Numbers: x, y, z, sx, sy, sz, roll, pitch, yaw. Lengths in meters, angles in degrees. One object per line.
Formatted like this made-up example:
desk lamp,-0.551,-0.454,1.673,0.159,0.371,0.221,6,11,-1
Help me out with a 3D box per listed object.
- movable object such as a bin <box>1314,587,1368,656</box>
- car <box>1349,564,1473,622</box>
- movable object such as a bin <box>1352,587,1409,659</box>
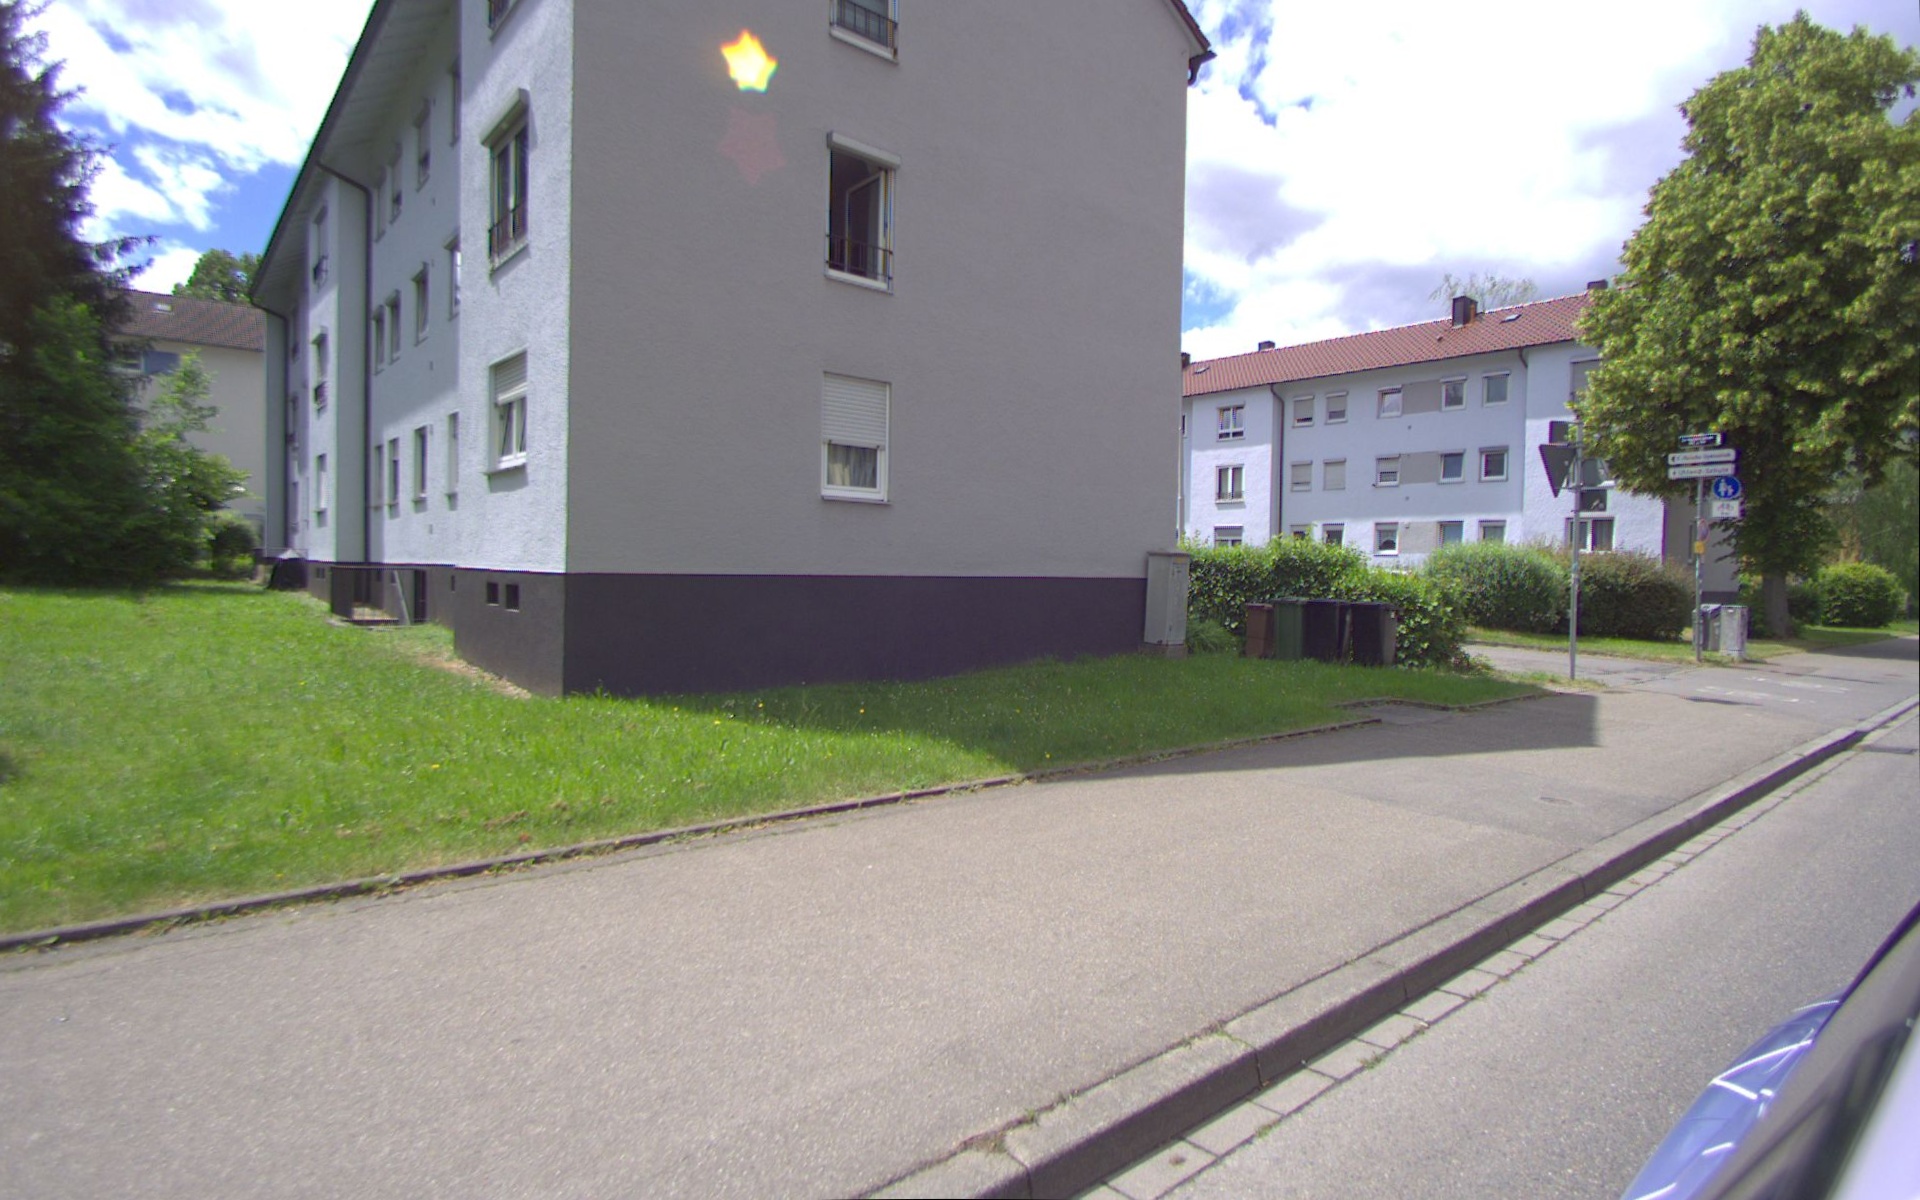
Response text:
movable object such as a bin,5.522,0.305,14.680,0.541,0.959,0.501,0,3,-41
car,12.128,-0.183,27.146,3.677,1.433,1.678,0,0,-41
movable object such as a bin,5.937,0.316,14.286,0.570,0.966,0.497,0,3,-41
